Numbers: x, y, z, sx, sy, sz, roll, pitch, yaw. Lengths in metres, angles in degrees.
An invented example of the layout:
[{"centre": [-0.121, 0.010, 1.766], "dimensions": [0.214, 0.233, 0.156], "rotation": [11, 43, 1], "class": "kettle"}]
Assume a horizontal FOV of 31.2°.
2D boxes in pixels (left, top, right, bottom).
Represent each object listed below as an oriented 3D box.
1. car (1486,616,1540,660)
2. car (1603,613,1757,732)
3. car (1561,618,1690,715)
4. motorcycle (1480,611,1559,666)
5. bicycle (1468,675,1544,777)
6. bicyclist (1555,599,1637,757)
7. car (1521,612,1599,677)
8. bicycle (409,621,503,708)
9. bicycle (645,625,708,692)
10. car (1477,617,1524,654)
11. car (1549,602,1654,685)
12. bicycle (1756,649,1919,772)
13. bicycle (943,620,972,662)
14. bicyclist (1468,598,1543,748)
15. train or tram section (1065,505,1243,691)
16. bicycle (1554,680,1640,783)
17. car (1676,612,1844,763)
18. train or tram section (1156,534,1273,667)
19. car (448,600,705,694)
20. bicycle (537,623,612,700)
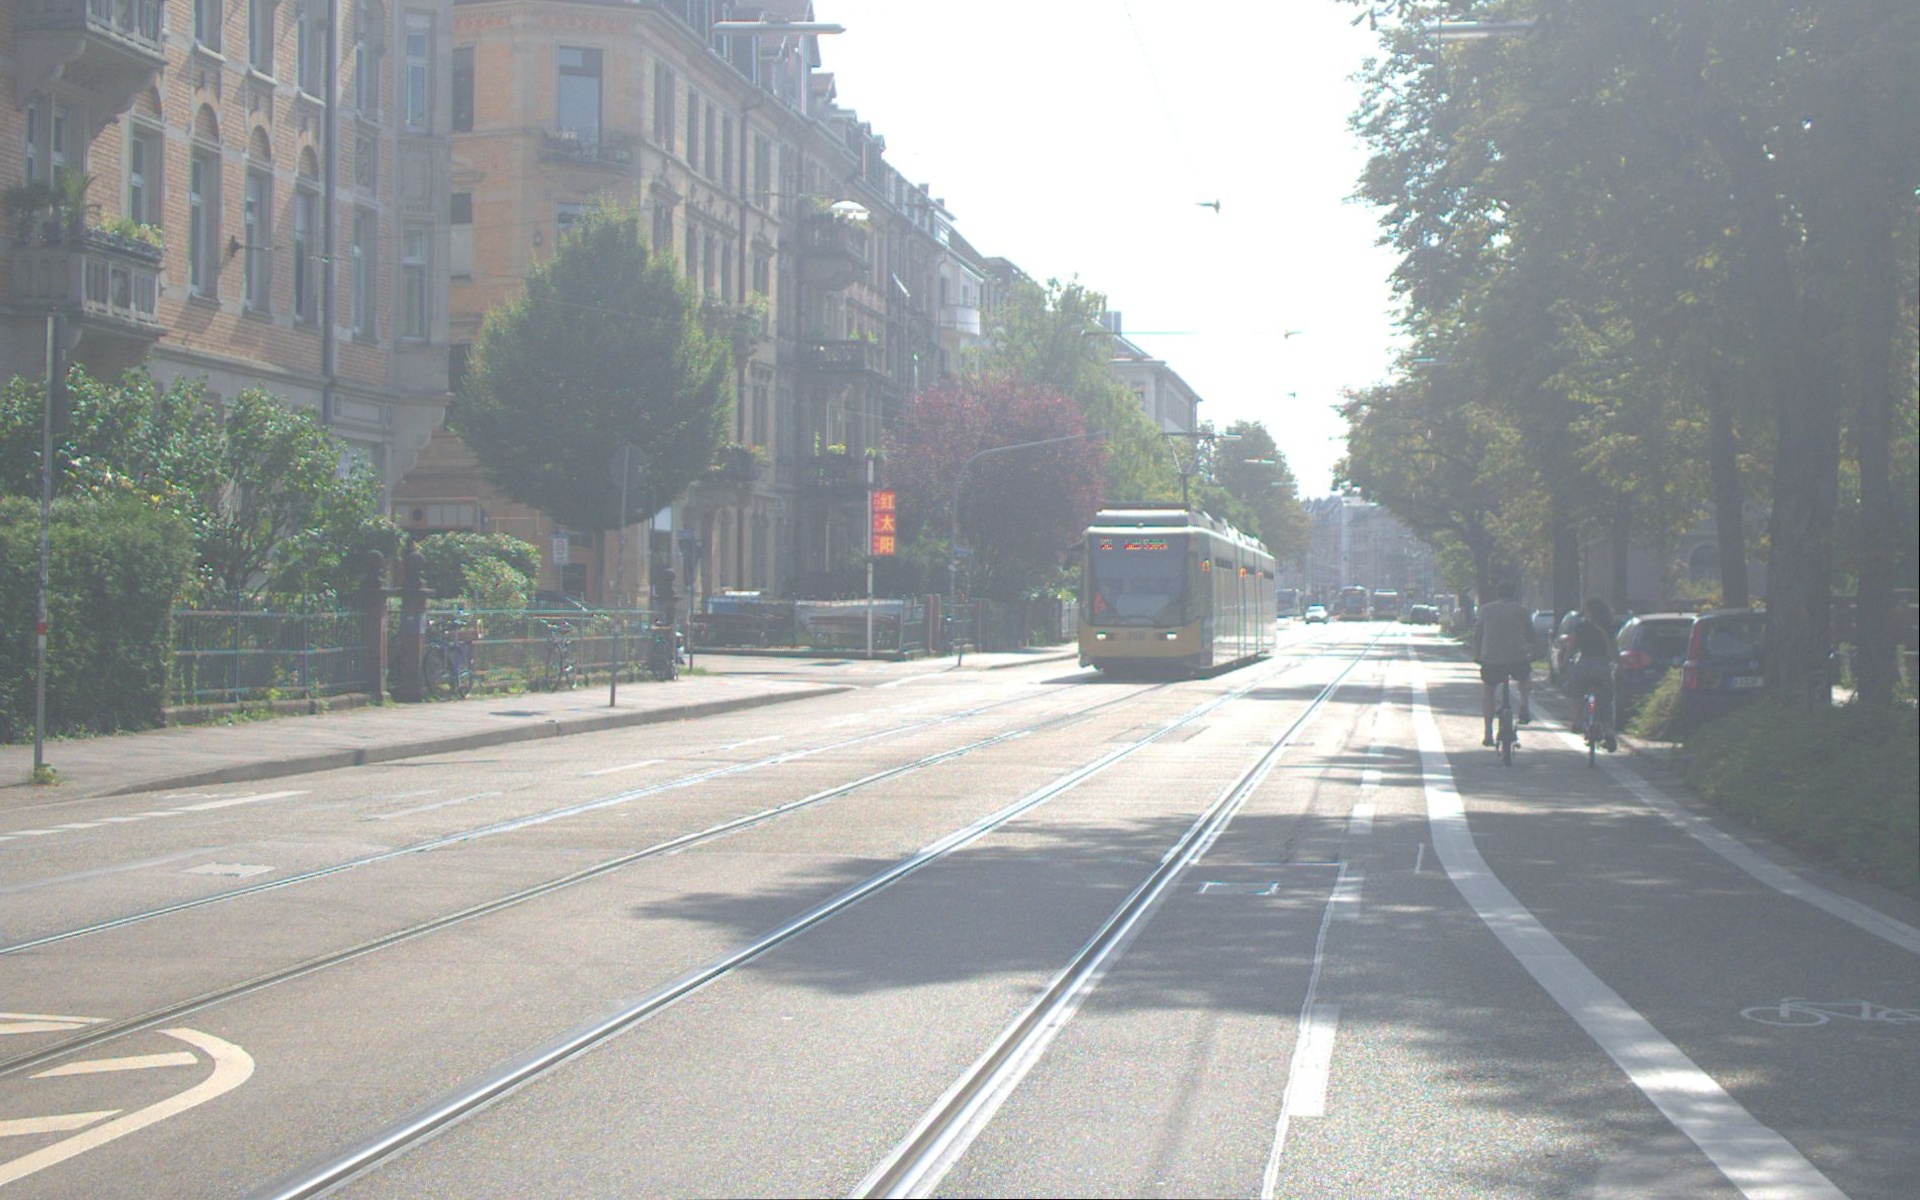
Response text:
[{"centre": [19.720, 1.360, 122.724], "dimensions": [1.727, 1.499, 3.983], "rotation": [-1, -1, 7], "class": "car"}, {"centre": [9.385, 0.925, 45.055], "dimensions": [1.646, 1.443, 4.244], "rotation": [-1, -1, 8], "class": "car"}, {"centre": [10.771, 1.052, 55.867], "dimensions": [1.690, 1.430, 4.335], "rotation": [-2, 0, 7], "class": "car"}, {"centre": [17.418, 1.193, 107.068], "dimensions": [0.911, 1.668, 2.419], "rotation": [-1, 0, -38], "class": "motorcycle"}, {"centre": [5.241, 1.202, 33.067], "dimensions": [0.626, 0.906, 1.524], "rotation": [2, 0, 7], "class": "bicycle"}, {"centre": [6.121, 0.744, 33.110], "dimensions": [0.654, 1.469, 0.908], "rotation": [2, 0, 7], "class": "bicyclist"}, {"centre": [14.742, 1.097, 84.625], "dimensions": [1.744, 1.555, 4.717], "rotation": [0, -1, 8], "class": "car"}, {"centre": [-6.494, 0.820, 44.409], "dimensions": [0.607, 1.054, 1.839], "rotation": [4, 0, 9], "class": "bicycle"}, {"centre": [-4.714, 0.961, 57.238], "dimensions": [0.545, 1.054, 1.839], "rotation": [4, 0, 9], "class": "bicycle"}, {"centre": [21.937, 1.465, 139.599], "dimensions": [1.772, 1.468, 3.972], "rotation": [0, -1, 8], "class": "car"}, {"centre": [12.338, 0.839, 66.257], "dimensions": [1.690, 1.497, 4.094], "rotation": [-2, -1, 7], "class": "car"}, {"centre": [7.910, 0.987, 30.932], "dimensions": [1.723, 1.069, 0.525], "rotation": [1, 0, -41], "class": "bicycle"}, {"centre": [-0.069, 1.082, 92.027], "dimensions": [0.508, 1.104, 2.002], "rotation": [0, 0, 8], "class": "bicycle"}, {"centre": [5.245, 0.697, 33.080], "dimensions": [0.626, 1.396, 0.929], "rotation": [2, 0, 7], "class": "bicyclist"}, {"centre": [4.323, -0.024, 73.097], "dimensions": [2.735, 3.494, 15.428], "rotation": [1, 0, 7], "class": "train or tram section"}, {"centre": [6.125, 1.251, 33.121], "dimensions": [0.654, 0.906, 1.774], "rotation": [2, 0, 7], "class": "bicycle"}, {"centre": [8.665, 0.917, 37.280], "dimensions": [1.646, 1.535, 3.839], "rotation": [-1, -1, 13], "class": "car"}, {"centre": [7.252, 0.030, 96.807], "dimensions": [2.735, 3.494, 10.772], "rotation": [1, 0, 7], "class": "train or tram section"}, {"centre": [-6.782, 0.834, 61.012], "dimensions": [4.138, 1.538, 2.064], "rotation": [1, -1, 7], "class": "car"}, {"centre": [-5.629, 0.890, 50.275], "dimensions": [0.545, 1.054, 1.839], "rotation": [4, 0, 9], "class": "bicycle"}]
